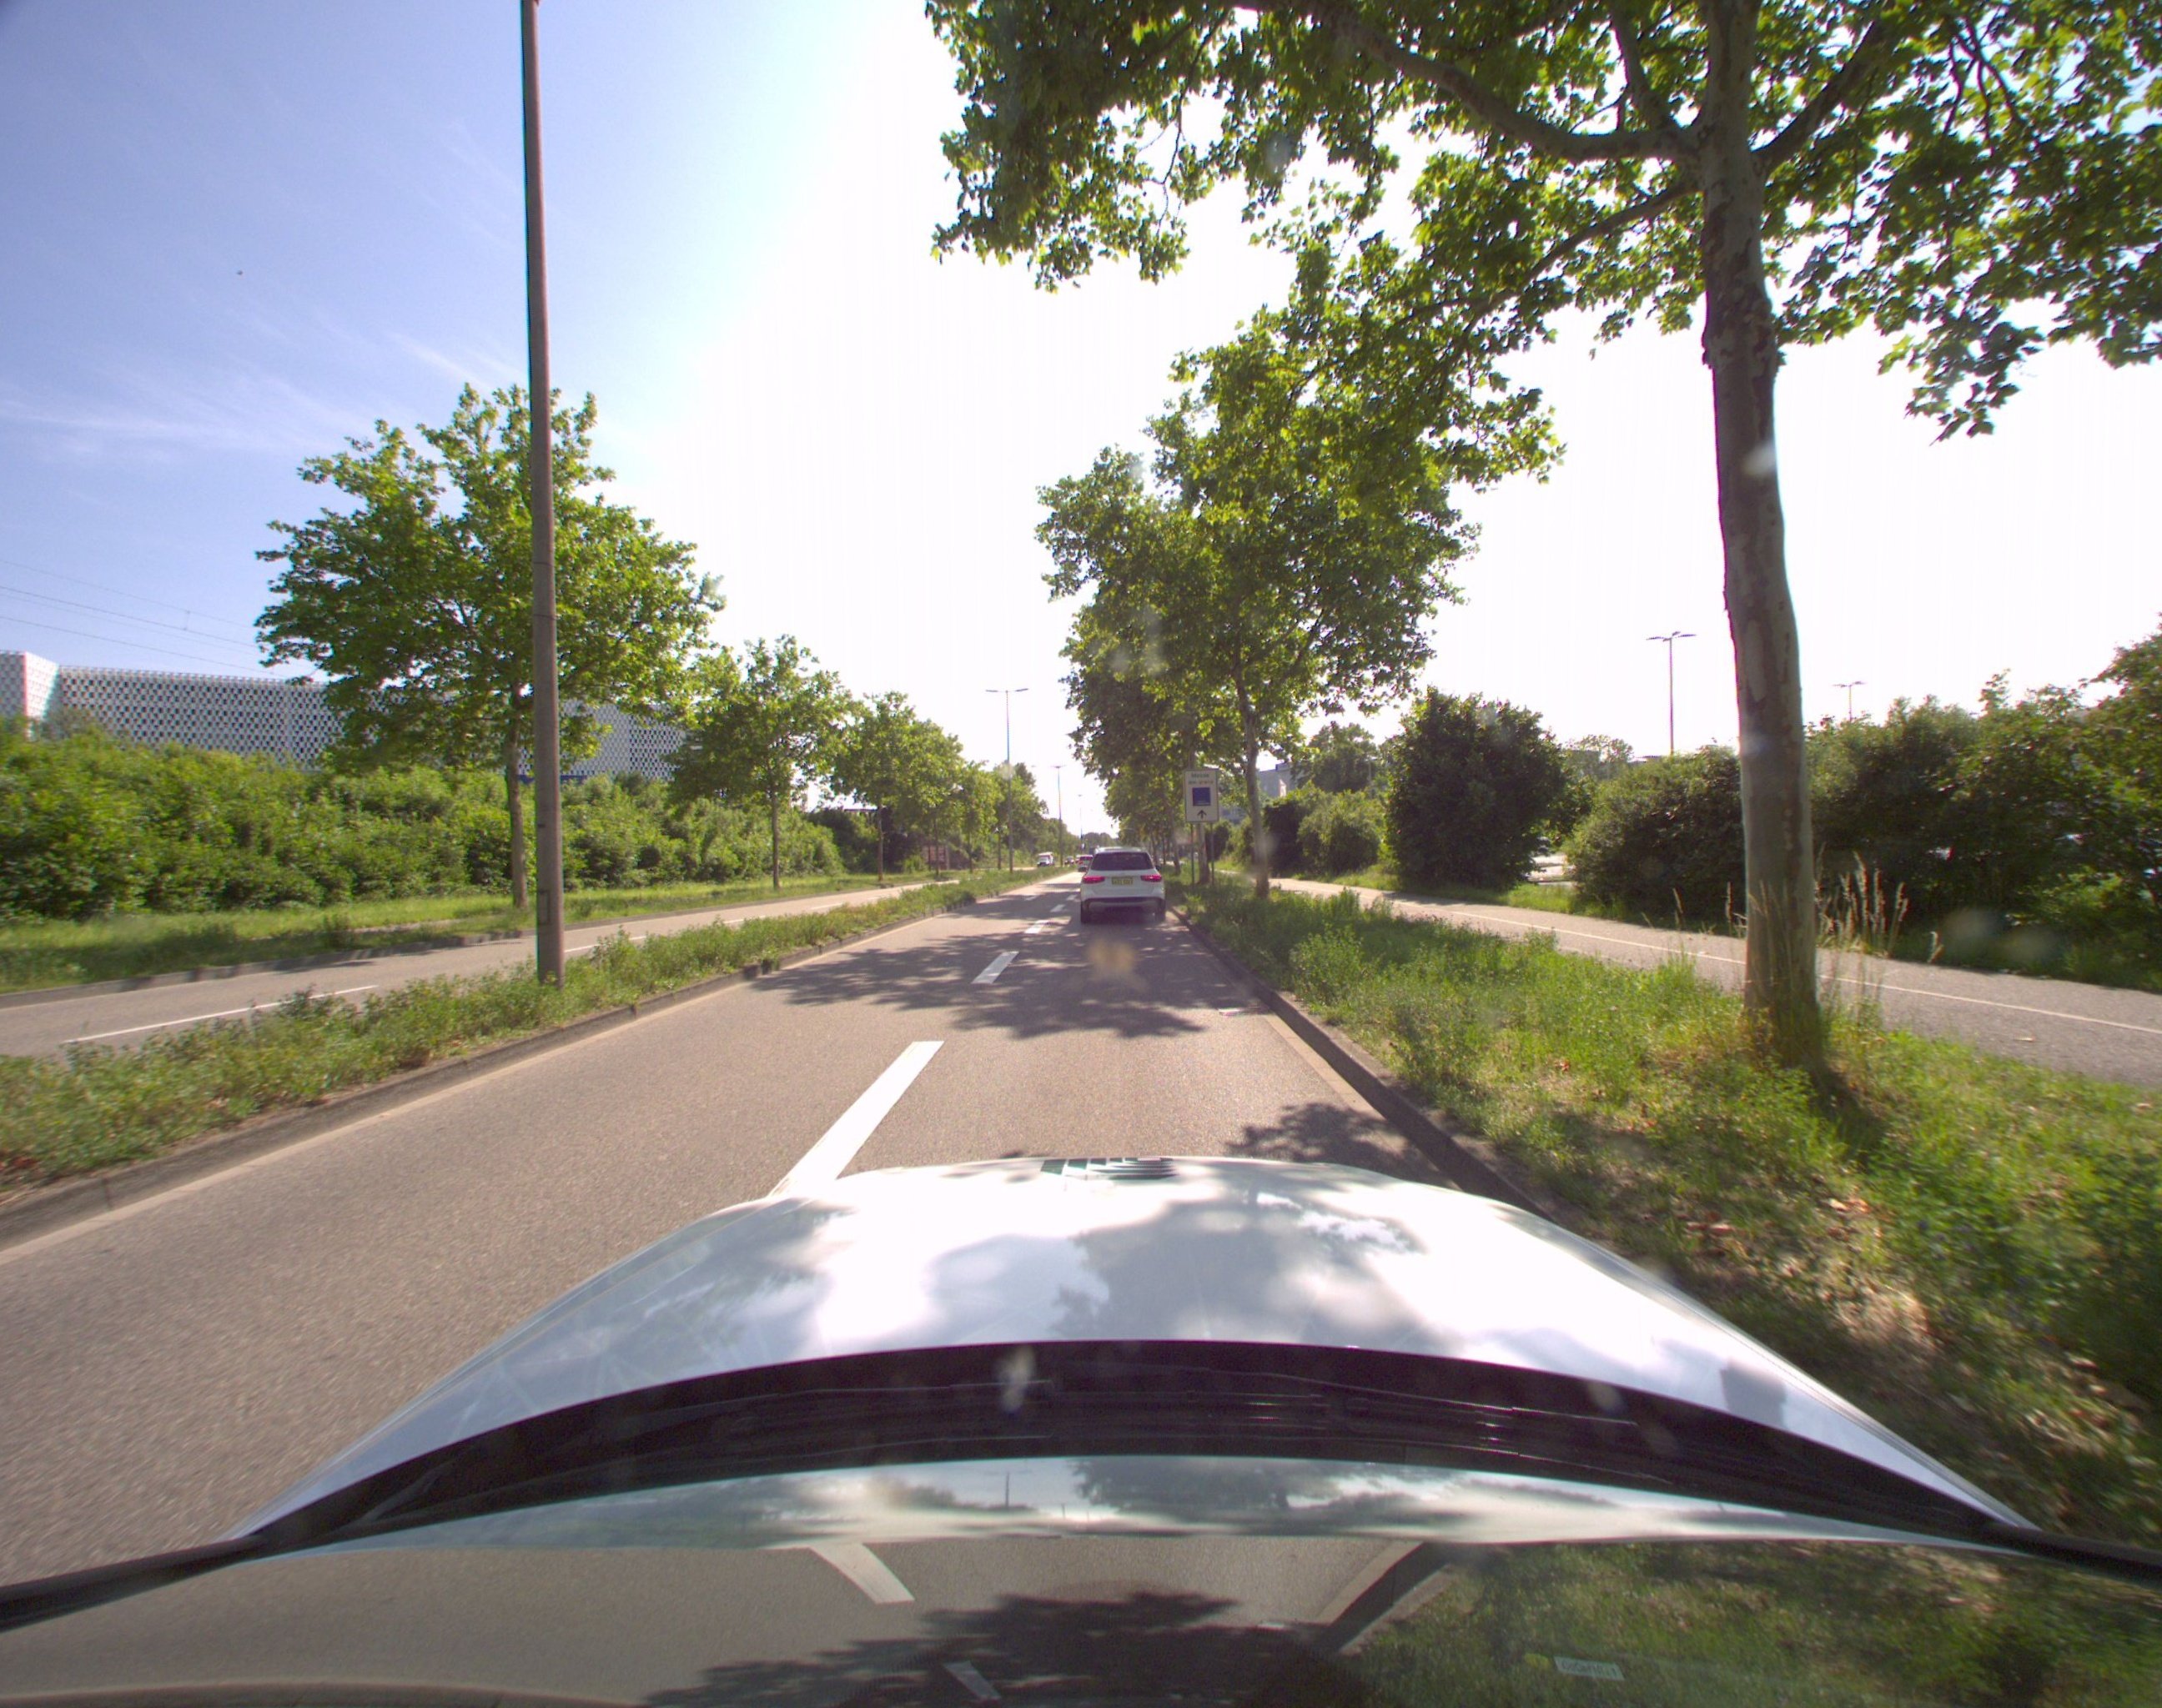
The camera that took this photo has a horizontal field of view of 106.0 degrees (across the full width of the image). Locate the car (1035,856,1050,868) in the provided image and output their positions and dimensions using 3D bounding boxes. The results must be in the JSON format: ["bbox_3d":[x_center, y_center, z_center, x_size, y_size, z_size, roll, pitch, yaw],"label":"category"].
[{"bbox_3d":[-5.769,1.207,123.530,1.708,1.622,4.365,-1,-1,4],"label":"car"}]

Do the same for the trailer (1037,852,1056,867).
[{"bbox_3d":[-5.405,0.945,128.510,2.299,2.265,5.543,-1,-1,4],"label":"trailer"}]

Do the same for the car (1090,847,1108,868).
[{"bbox_3d":[2.289,0.503,104.732,2.072,2.656,4.878,0,-1,4],"label":"car"}]

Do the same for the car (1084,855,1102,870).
[{"bbox_3d":[1.345,0.912,88.809,1.764,1.647,4.088,-1,-1,4],"label":"car"}]

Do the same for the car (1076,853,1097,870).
[{"bbox_3d":[0.578,0.737,80.731,1.764,1.647,4.356,-1,-1,4],"label":"car"}]

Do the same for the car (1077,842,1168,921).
[{"bbox_3d":[0.841,0.588,18.741,1.848,1.607,3.998,0,-1,-1],"label":"car"}]
